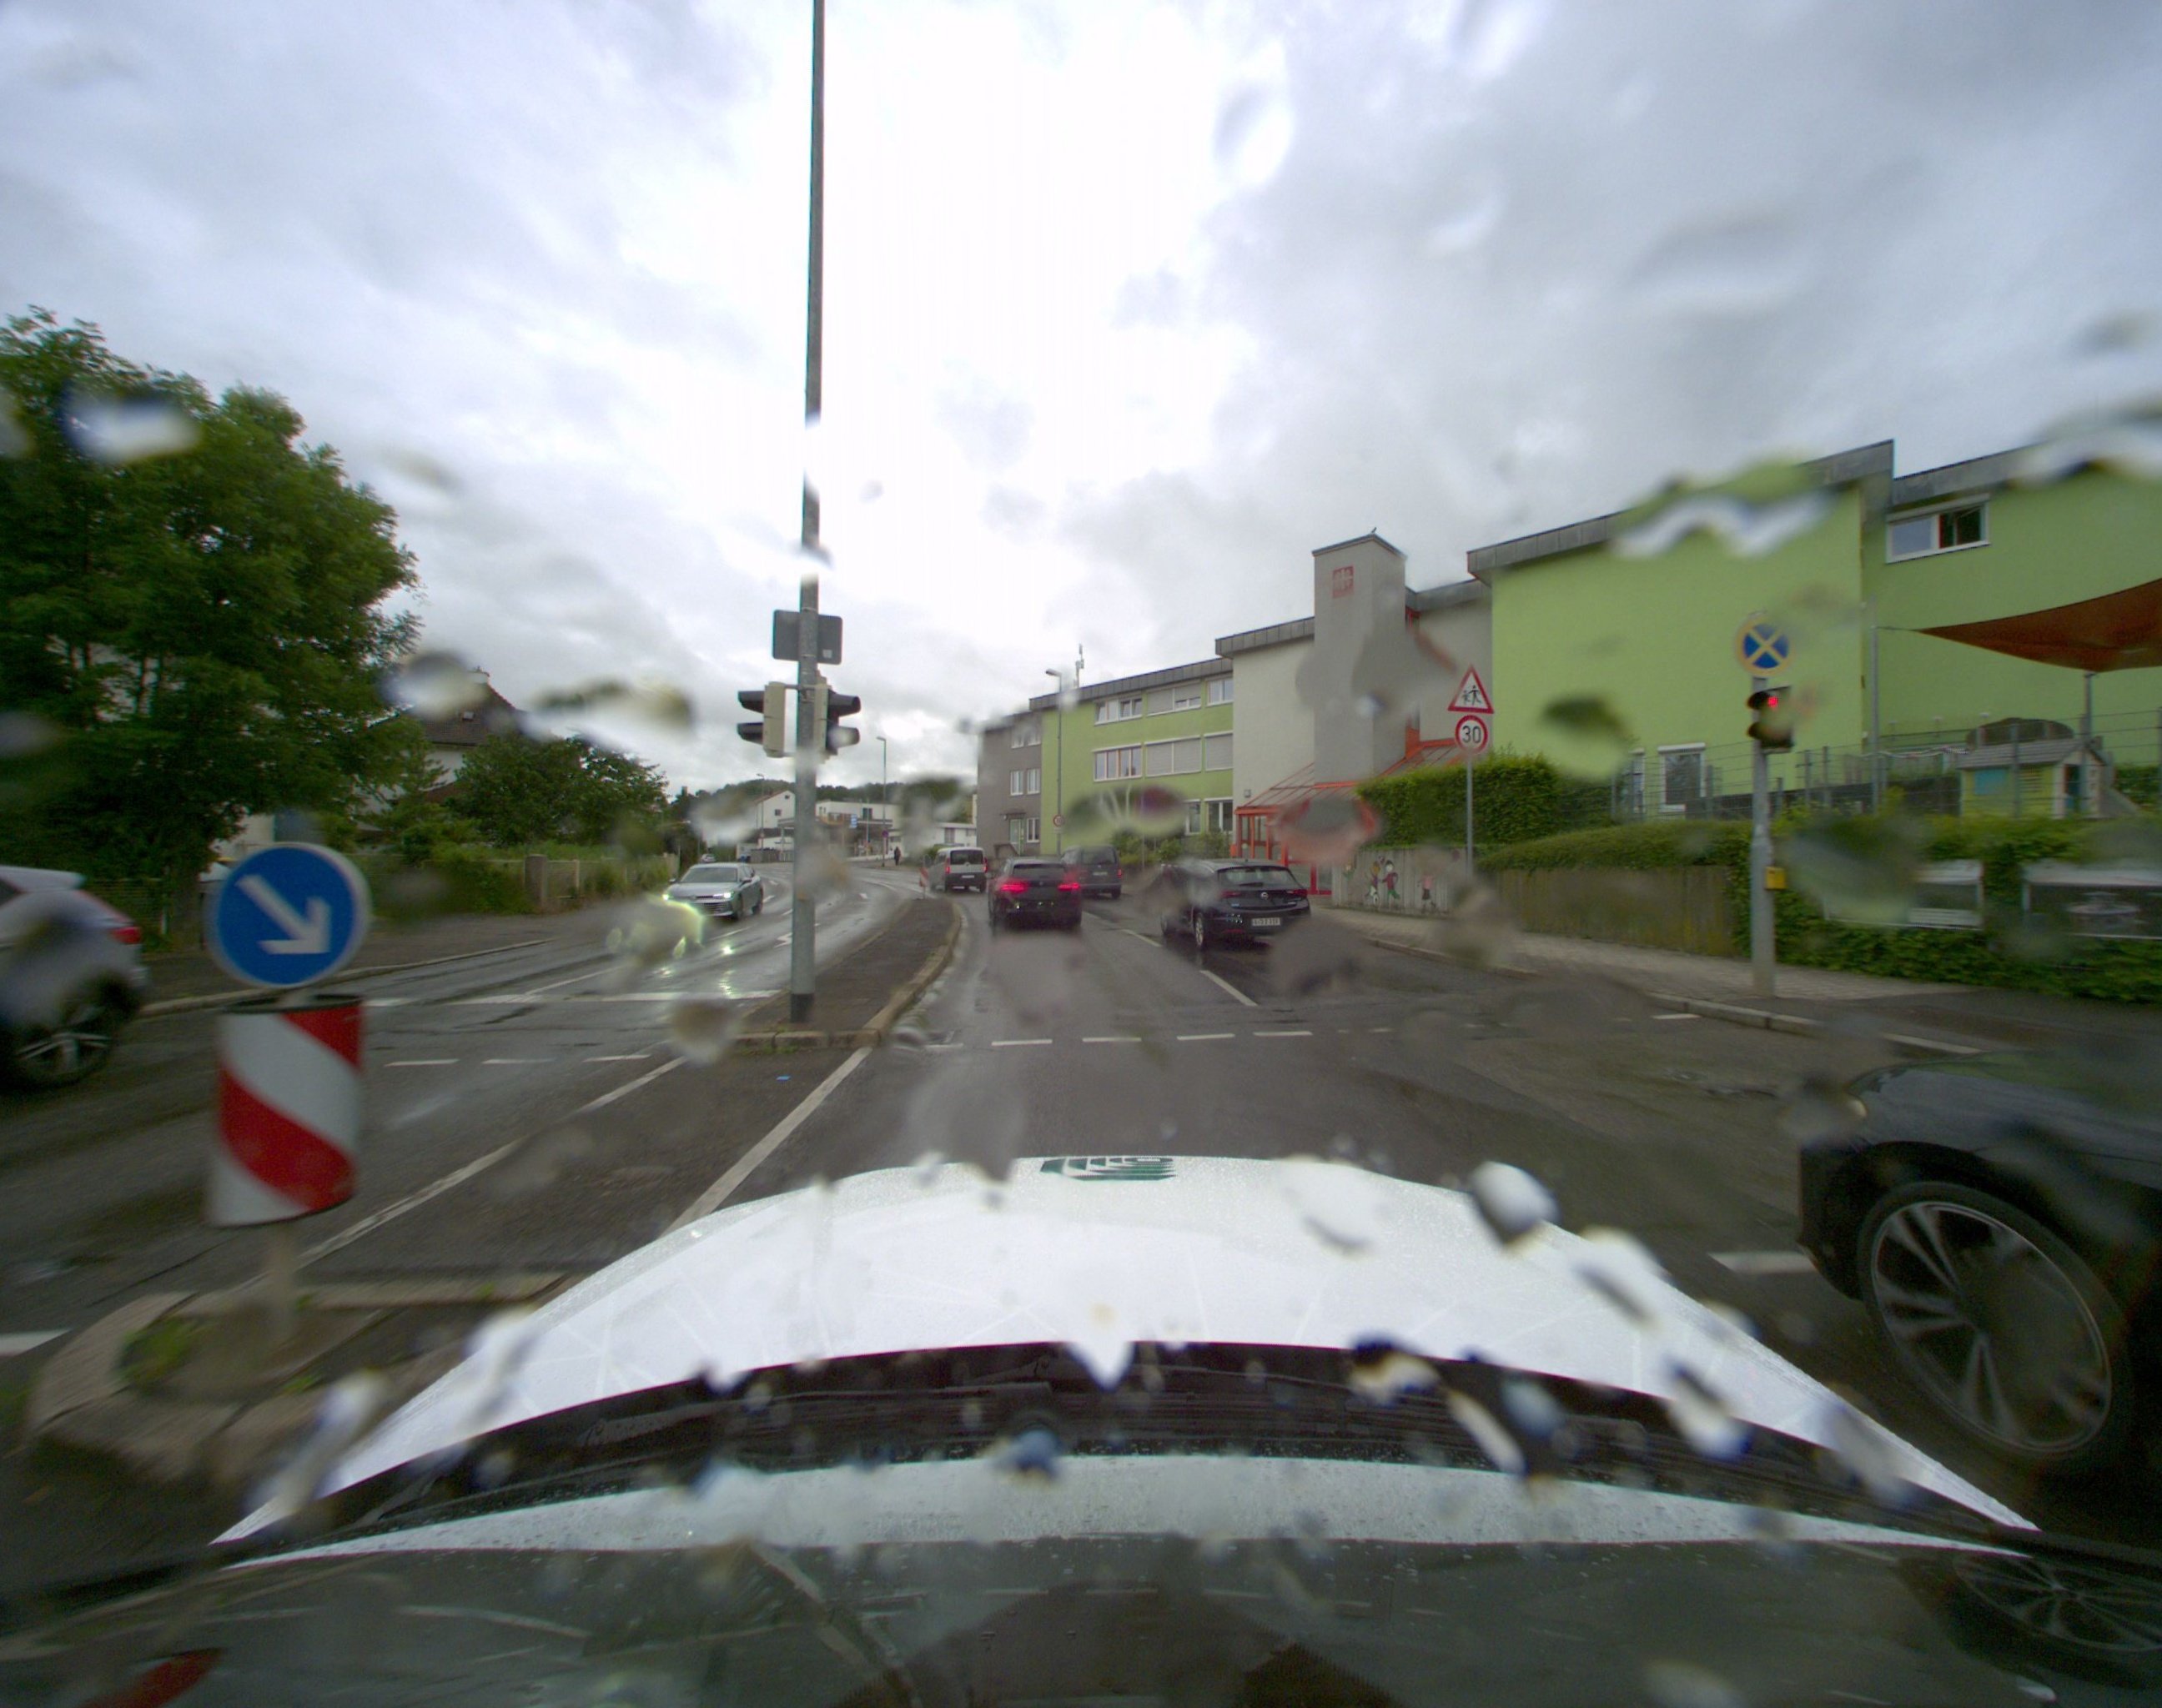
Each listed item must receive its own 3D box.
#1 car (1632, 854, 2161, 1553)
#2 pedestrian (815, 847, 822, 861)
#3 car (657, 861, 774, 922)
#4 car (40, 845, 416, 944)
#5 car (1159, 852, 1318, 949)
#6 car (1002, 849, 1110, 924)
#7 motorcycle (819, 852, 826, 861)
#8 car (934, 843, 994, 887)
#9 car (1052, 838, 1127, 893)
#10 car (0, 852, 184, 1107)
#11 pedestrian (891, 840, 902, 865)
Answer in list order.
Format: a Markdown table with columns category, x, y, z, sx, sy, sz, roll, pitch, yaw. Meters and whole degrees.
| category | x | y | z | sx | sy | sz | roll | pitch | yaw |
| --- | --- | --- | --- | --- | --- | --- | --- | --- | --- |
| car | 3.127 | 0.688 | 0.878 | 1.860 | 1.424 | 4.738 | 0 | -1 | 0 |
| pedestrian | -30.476 | 0.002 | 94.532 | 0.614 | 1.656 | 0.580 | 1 | -2 | -32 |
| car | -9.774 | 0.962 | 22.173 | 1.675 | 1.450 | 4.674 | 0 | -1 | -8 |
| car | -14.405 | 0.680 | 14.052 | 3.989 | 1.395 | 1.925 | 4 | -1 | -12 |
| car | 2.586 | 0.700 | 14.349 | 1.753 | 1.449 | 3.993 | 0 | 0 | -5 |
| car | -0.680 | 0.693 | 18.426 | 1.993 | 1.484 | 3.988 | 0 | -1 | -8 |
| motorcycle | -30.059 | 0.318 | 94.598 | 0.465 | 1.055 | 1.376 | 0 | -2 | -31 |
| car | -5.054 | 0.482 | 34.684 | 1.998 | 1.738 | 3.977 | 0 | -1 | -16 |
| car | 0.208 | 0.420 | 28.566 | 1.839 | 1.767 | 3.984 | 0 | -1 | -11 |
| car | -8.006 | 0.812 | 4.329 | 1.878 | 1.678 | 4.226 | 0 | -1 | -3 |
| pedestrian | -15.085 | -0.137 | 66.613 | 0.607 | 2.014 | 0.722 | -1 | -2 | 23 |
